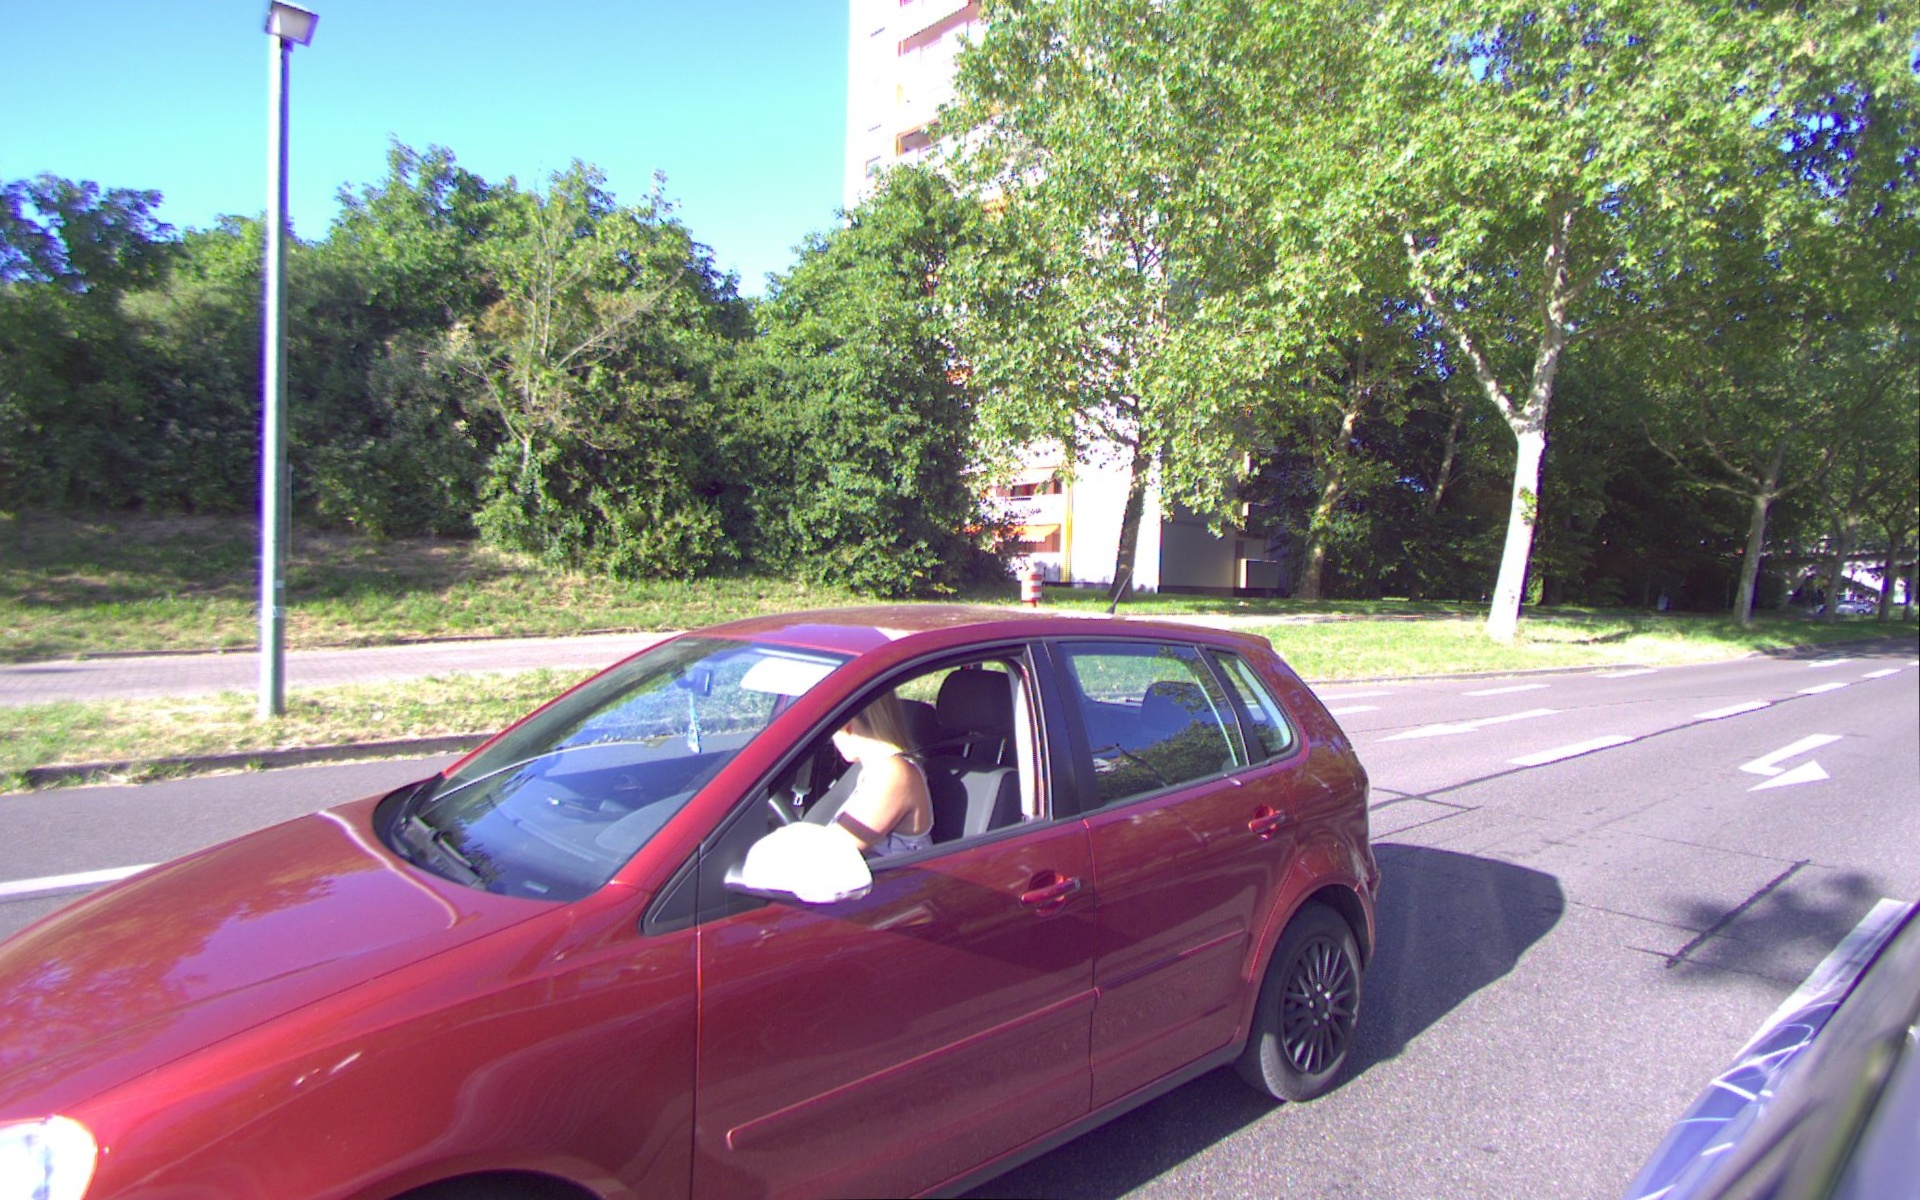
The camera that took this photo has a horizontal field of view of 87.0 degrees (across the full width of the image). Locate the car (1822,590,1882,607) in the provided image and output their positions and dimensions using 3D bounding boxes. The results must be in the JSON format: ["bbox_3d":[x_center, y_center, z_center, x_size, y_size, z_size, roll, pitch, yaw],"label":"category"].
[{"bbox_3d":[80.712,-0.151,91.634,3.983,1.493,1.772,0,0,42],"label":"car"}]

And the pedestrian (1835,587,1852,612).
[{"bbox_3d":[74.240,-0.044,85.006,0.945,2.039,0.918,0,0,-39],"label":"pedestrian"}]

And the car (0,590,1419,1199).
[{"bbox_3d":[-0.429,0.709,2.787,3.694,1.456,1.645,-1,1,-40],"label":"car"}]
